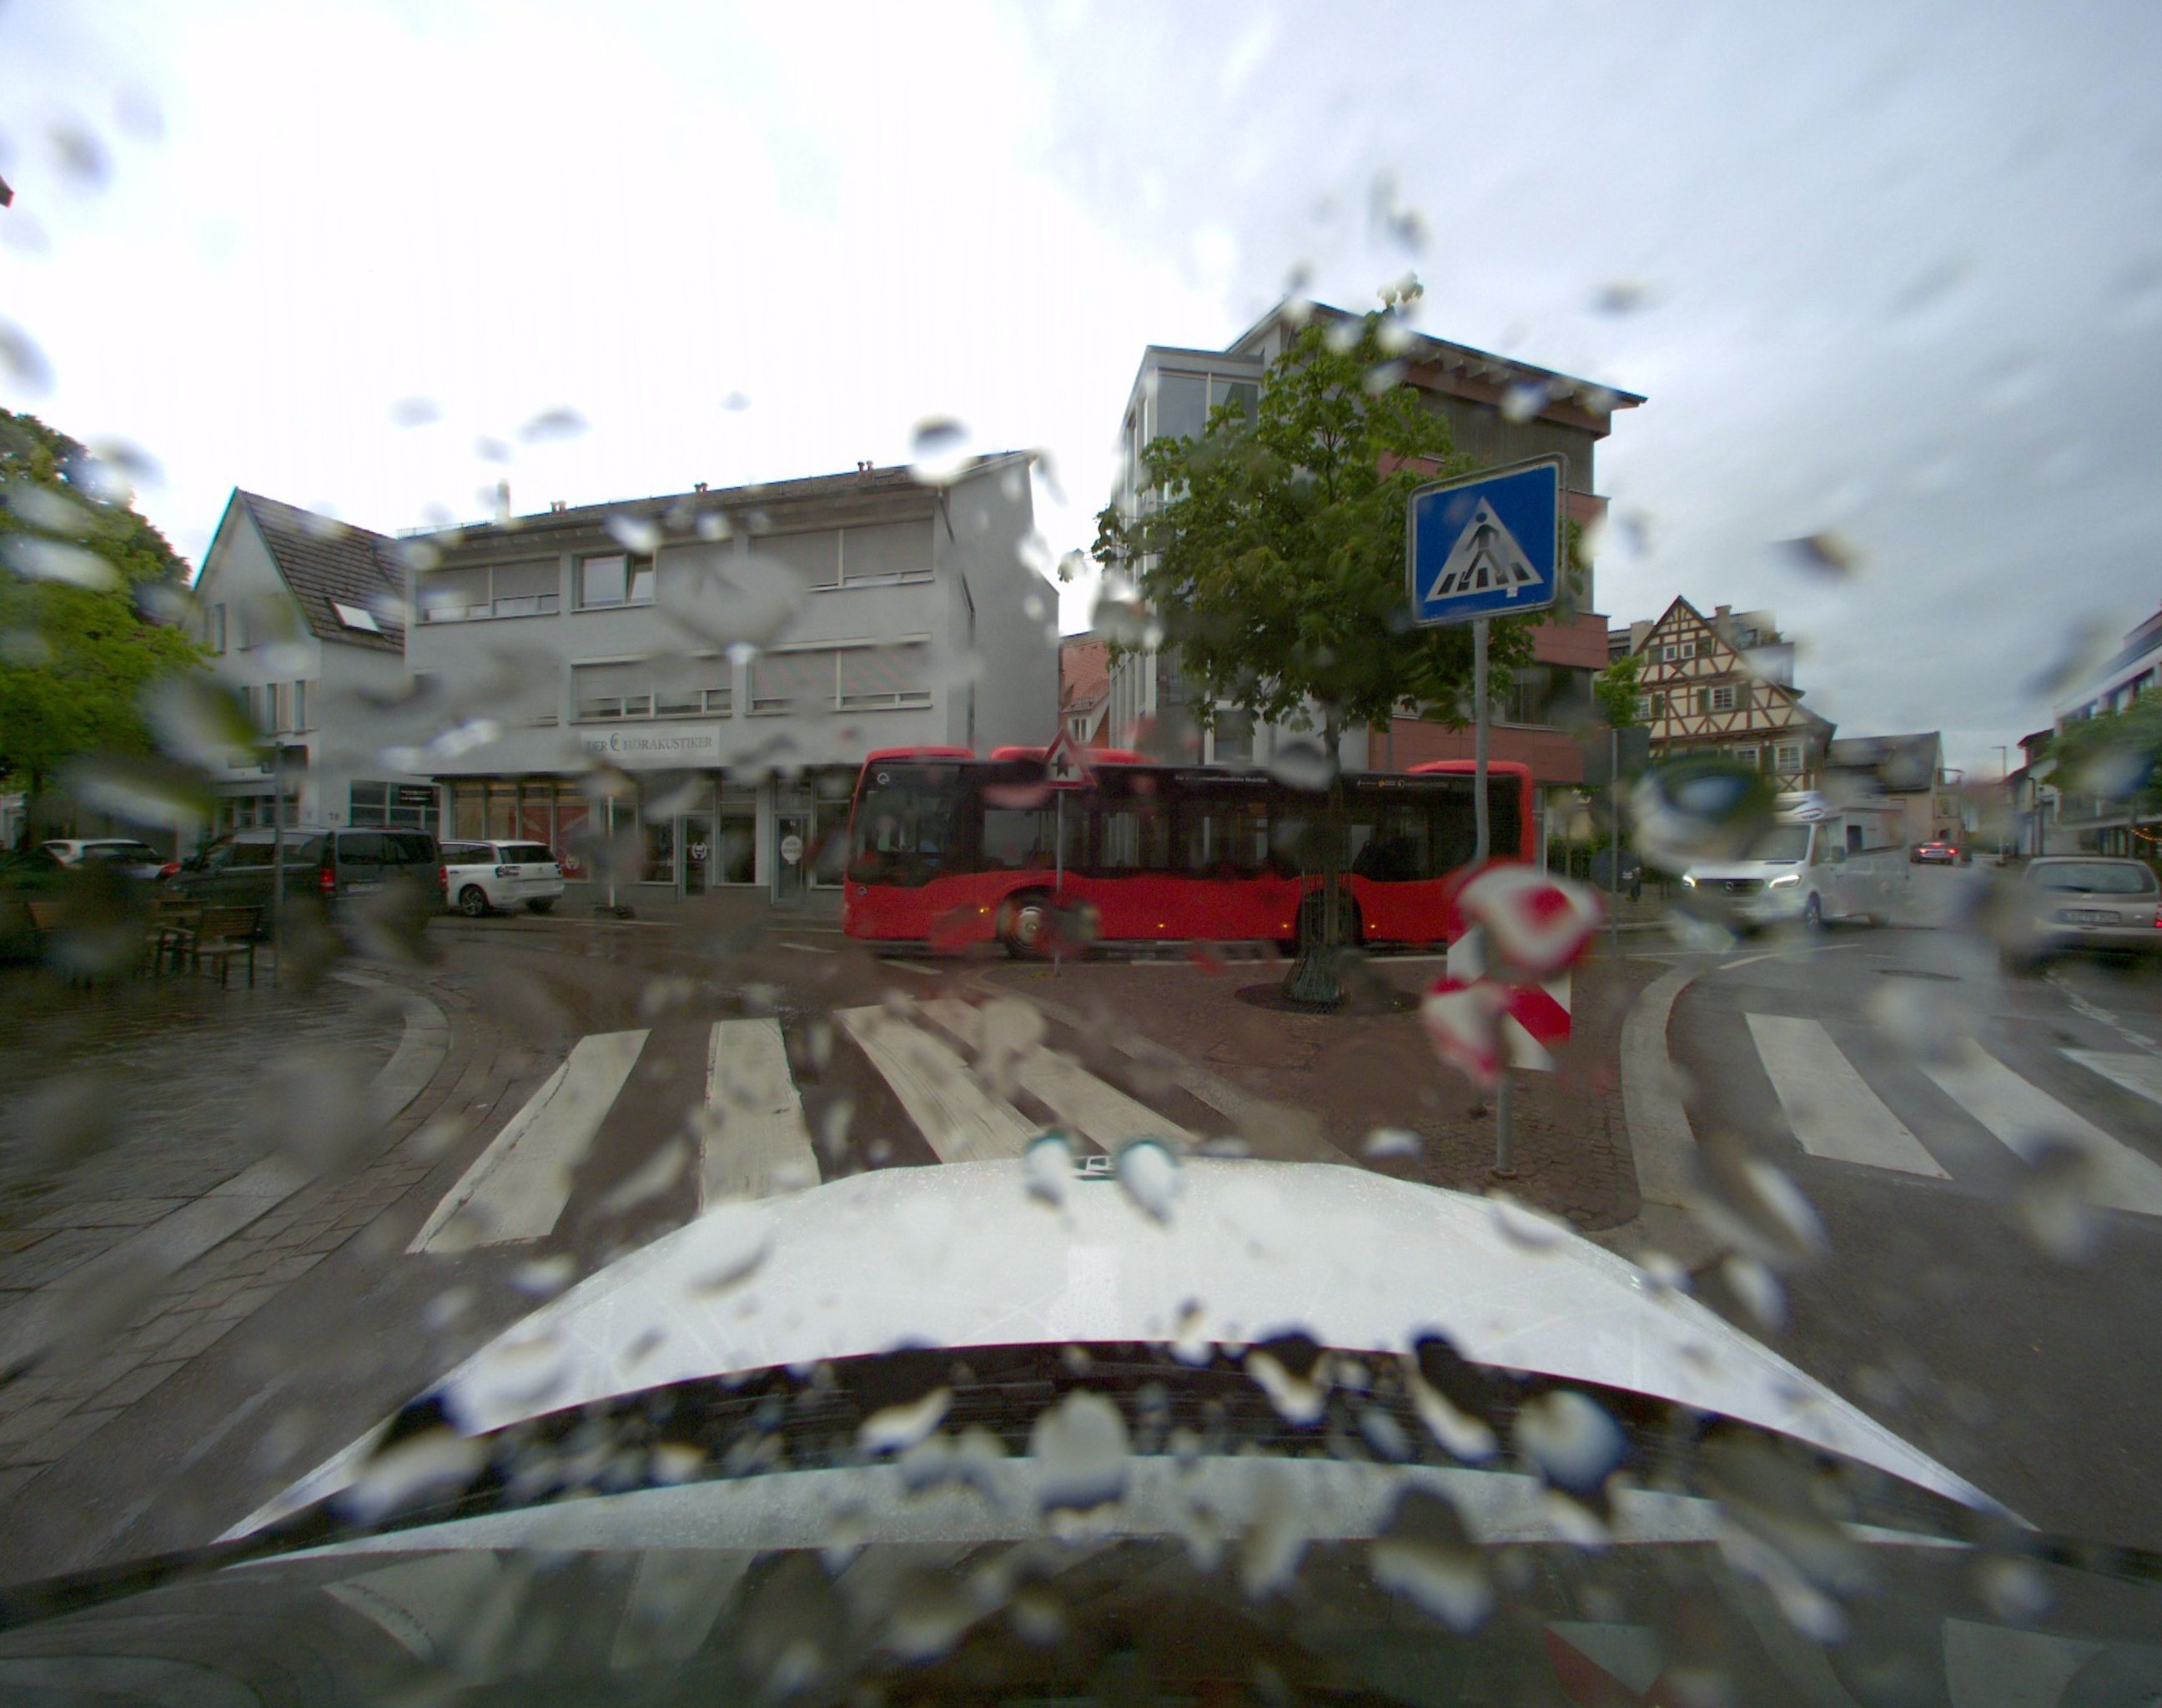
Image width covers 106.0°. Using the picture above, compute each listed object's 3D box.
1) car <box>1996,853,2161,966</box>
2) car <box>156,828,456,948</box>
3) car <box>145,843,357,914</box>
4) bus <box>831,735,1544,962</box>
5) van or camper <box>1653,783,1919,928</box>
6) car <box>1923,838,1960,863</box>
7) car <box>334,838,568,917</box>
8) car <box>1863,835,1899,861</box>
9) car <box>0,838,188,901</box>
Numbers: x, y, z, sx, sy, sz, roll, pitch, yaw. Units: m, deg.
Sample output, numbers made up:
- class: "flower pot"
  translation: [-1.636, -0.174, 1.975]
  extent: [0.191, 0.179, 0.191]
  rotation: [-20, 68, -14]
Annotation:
- class: "car"
  translation: [15.150, 0.727, 12.294]
  extent: [3.357, 1.471, 1.510]
  rotation: [0, 0, -37]
- class: "car"
  translation: [-13.616, 0.478, 14.331]
  extent: [4.671, 1.780, 1.963]
  rotation: [2, 1, 21]
- class: "car"
  translation: [-19.425, 0.517, 19.114]
  extent: [3.761, 1.528, 1.688]
  rotation: [1, 1, 12]
- class: "bus"
  translation: [1.680, -0.063, 13.172]
  extent: [10.564, 3.089, 2.814]
  rotation: [0, -1, -8]
- class: "van or camper"
  translation: [15.140, 0.030, 17.344]
  extent: [6.774, 2.585, 2.421]
  rotation: [0, 0, -32]
- class: "car"
  translation: [60.318, -0.224, 57.095]
  extent: [1.659, 1.712, 3.340]
  rotation: [0, -1, 45]
- class: "car"
  translation: [-13.935, 0.476, 18.102]
  extent: [4.187, 1.612, 1.698]
  rotation: [1, 1, 10]
- class: "car"
  translation: [53.890, -0.374, 54.895]
  extent: [1.571, 1.712, 3.341]
  rotation: [0, -1, 43]
- class: "car"
  translation: [-24.978, 0.379, 20.384]
  extent: [3.822, 1.496, 1.806]
  rotation: [0, -1, 12]
